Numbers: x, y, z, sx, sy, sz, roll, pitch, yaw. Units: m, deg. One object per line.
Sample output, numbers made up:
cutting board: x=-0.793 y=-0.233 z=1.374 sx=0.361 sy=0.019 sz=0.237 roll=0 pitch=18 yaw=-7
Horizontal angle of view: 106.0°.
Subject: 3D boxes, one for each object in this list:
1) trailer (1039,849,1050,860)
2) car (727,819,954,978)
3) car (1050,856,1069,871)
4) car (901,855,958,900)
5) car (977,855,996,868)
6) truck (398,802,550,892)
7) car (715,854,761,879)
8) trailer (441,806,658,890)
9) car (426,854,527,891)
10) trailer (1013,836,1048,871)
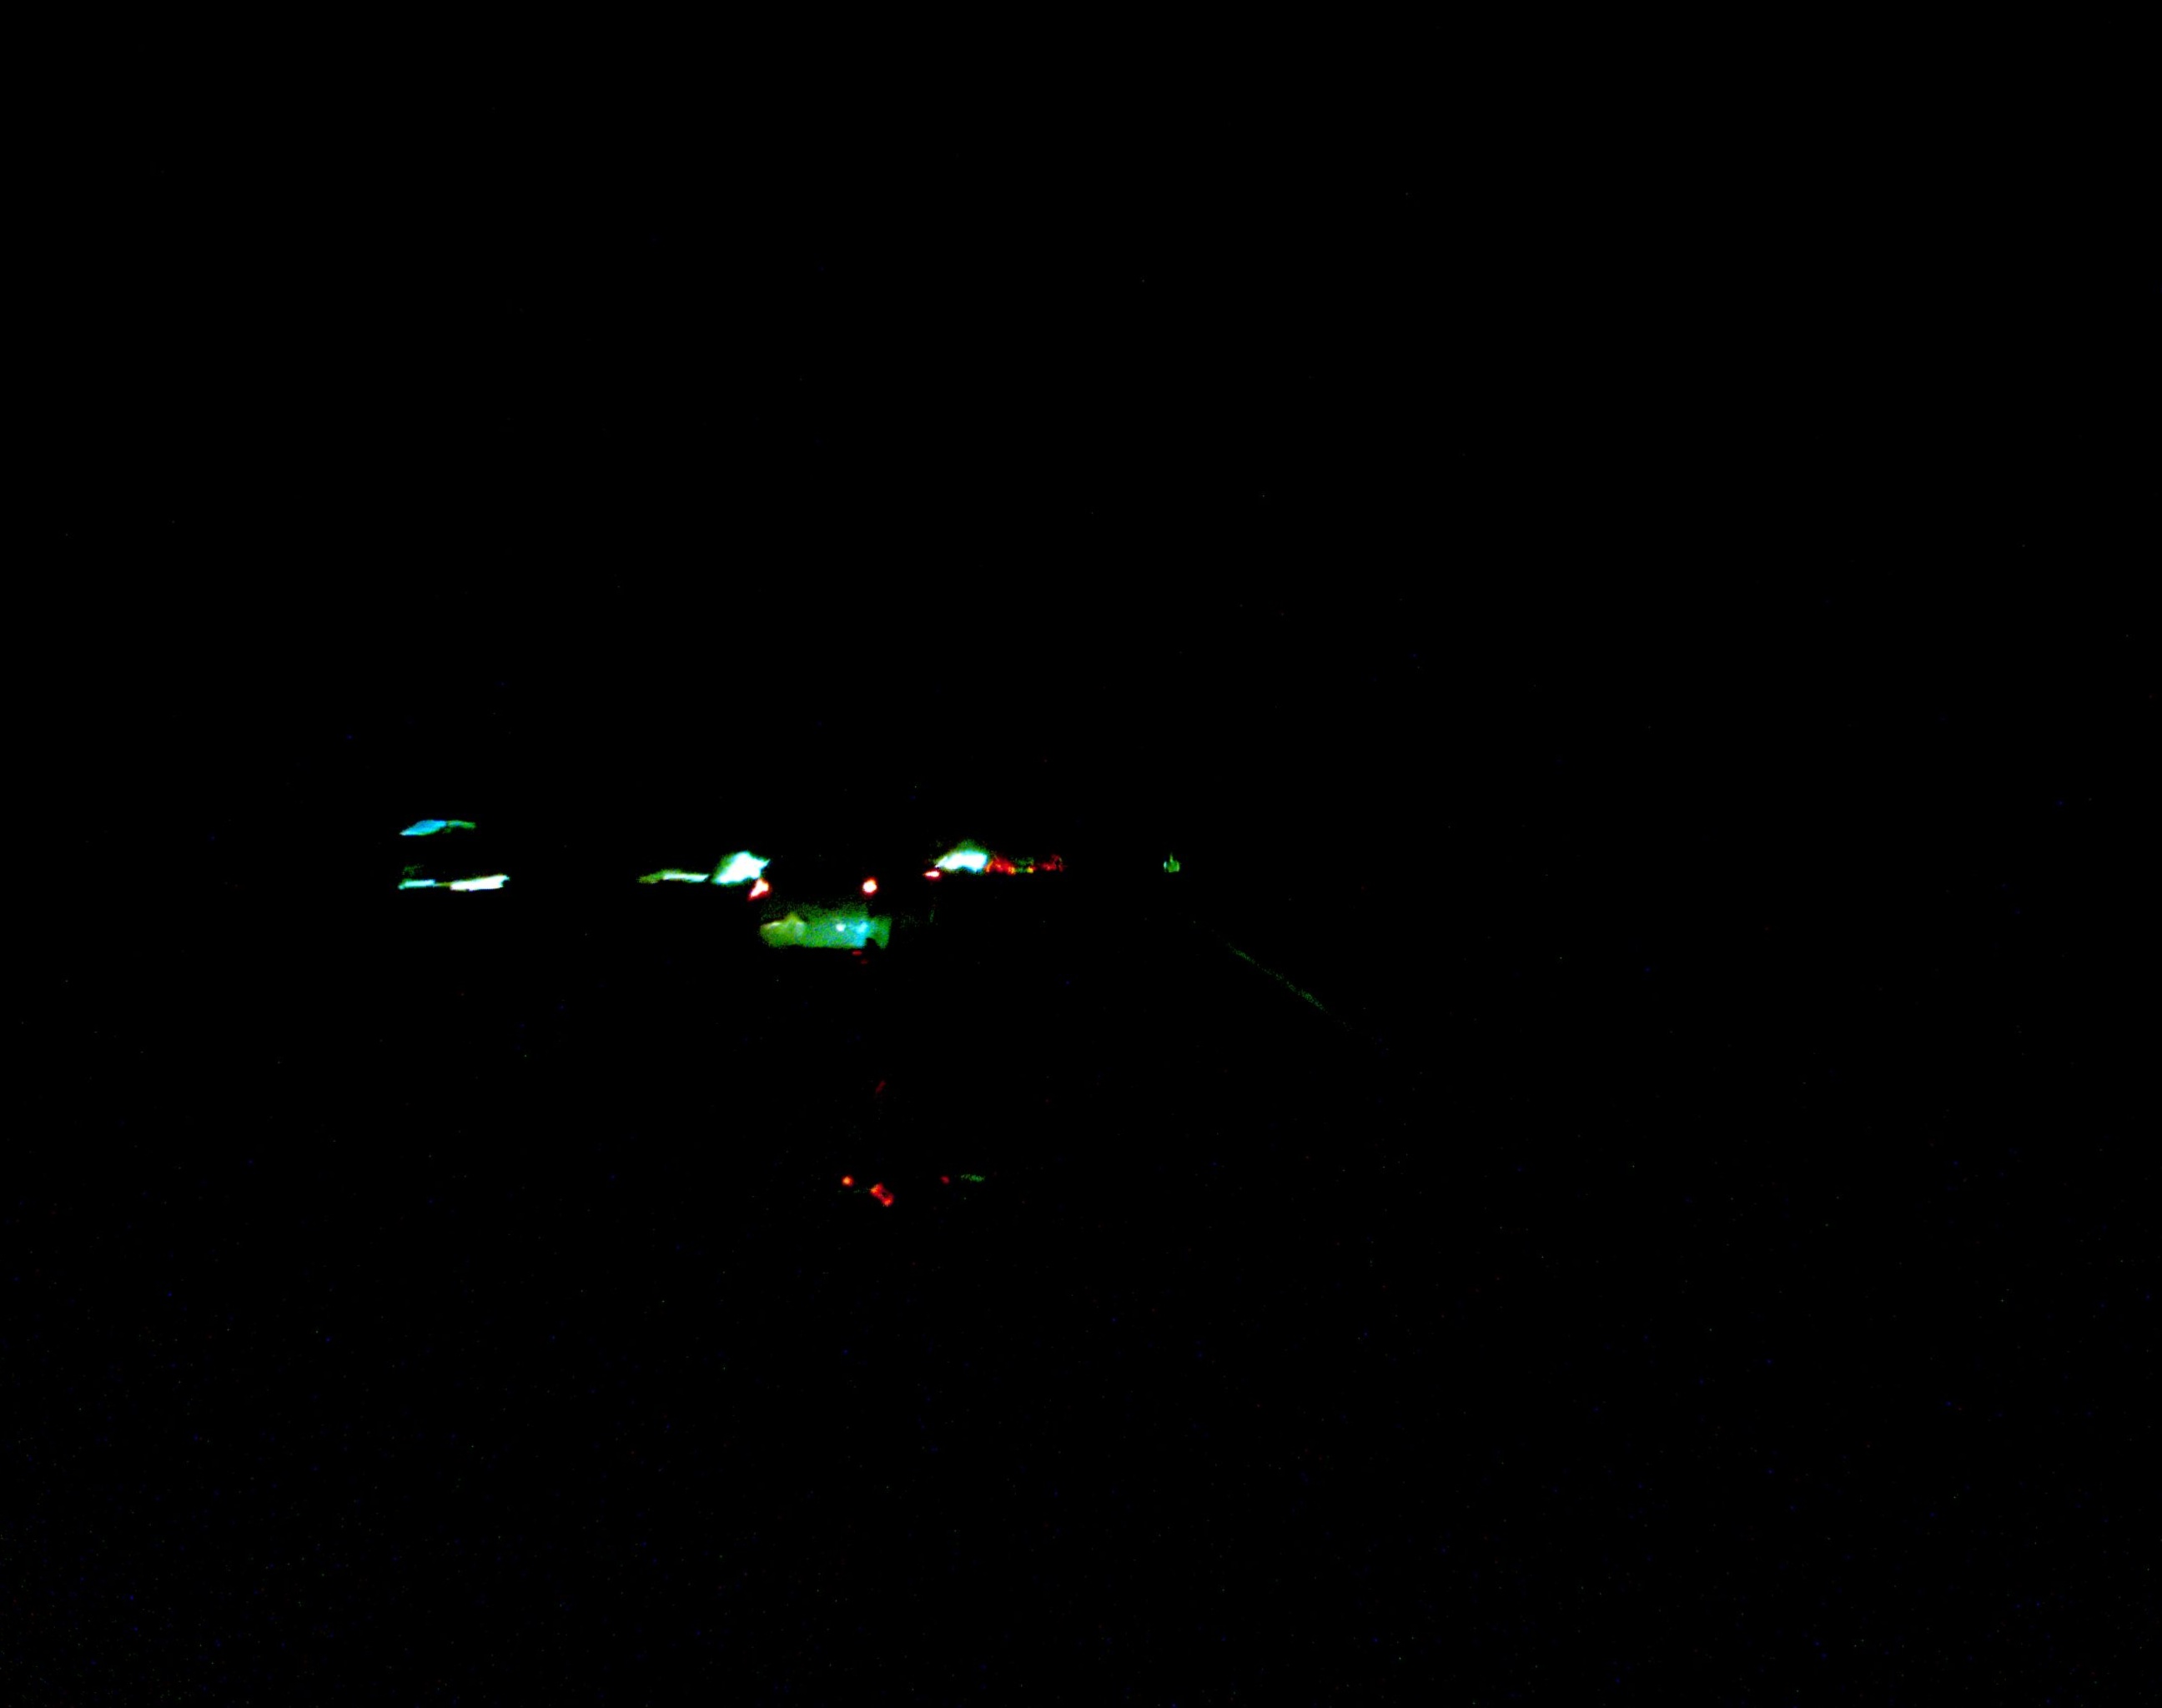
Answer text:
trailer: x=-9.745 y=0.138 z=215.790 sx=2.681 sy=2.700 sz=12.842 roll=2 pitch=-1 yaw=-3
car: x=-3.493 y=0.602 z=13.016 sx=1.986 sy=2.014 sz=5.018 roll=-1 pitch=-1 yaw=1
car: x=-2.708 y=1.219 z=104.049 sx=1.985 sy=1.818 sz=4.003 roll=2 pitch=-1 yaw=3
car: x=-7.388 y=1.113 z=40.047 sx=1.988 sy=2.014 sz=4.564 roll=2 pitch=-1 yaw=-2
car: x=-12.464 y=1.004 z=107.561 sx=1.987 sy=1.618 sz=3.998 roll=2 pitch=0 yaw=-1
truck: x=-30.558 y=-0.296 z=41.391 sx=2.718 sy=4.090 sz=6.268 roll=2 pitch=-1 yaw=1
car: x=-30.110 y=1.111 z=71.623 sx=1.987 sy=2.014 sz=4.405 roll=2 pitch=-1 yaw=0
trailer: x=-30.453 y=-0.223 z=48.205 sx=2.718 sy=4.090 sz=14.862 roll=2 pitch=-1 yaw=1
car: x=-27.072 y=0.802 z=36.621 sx=1.655 sy=1.490 sz=3.704 roll=2 pitch=0 yaw=1
trailer: x=-5.653 y=0.042 z=93.960 sx=2.582 sy=3.725 sz=13.658 roll=3 pitch=-1 yaw=2
